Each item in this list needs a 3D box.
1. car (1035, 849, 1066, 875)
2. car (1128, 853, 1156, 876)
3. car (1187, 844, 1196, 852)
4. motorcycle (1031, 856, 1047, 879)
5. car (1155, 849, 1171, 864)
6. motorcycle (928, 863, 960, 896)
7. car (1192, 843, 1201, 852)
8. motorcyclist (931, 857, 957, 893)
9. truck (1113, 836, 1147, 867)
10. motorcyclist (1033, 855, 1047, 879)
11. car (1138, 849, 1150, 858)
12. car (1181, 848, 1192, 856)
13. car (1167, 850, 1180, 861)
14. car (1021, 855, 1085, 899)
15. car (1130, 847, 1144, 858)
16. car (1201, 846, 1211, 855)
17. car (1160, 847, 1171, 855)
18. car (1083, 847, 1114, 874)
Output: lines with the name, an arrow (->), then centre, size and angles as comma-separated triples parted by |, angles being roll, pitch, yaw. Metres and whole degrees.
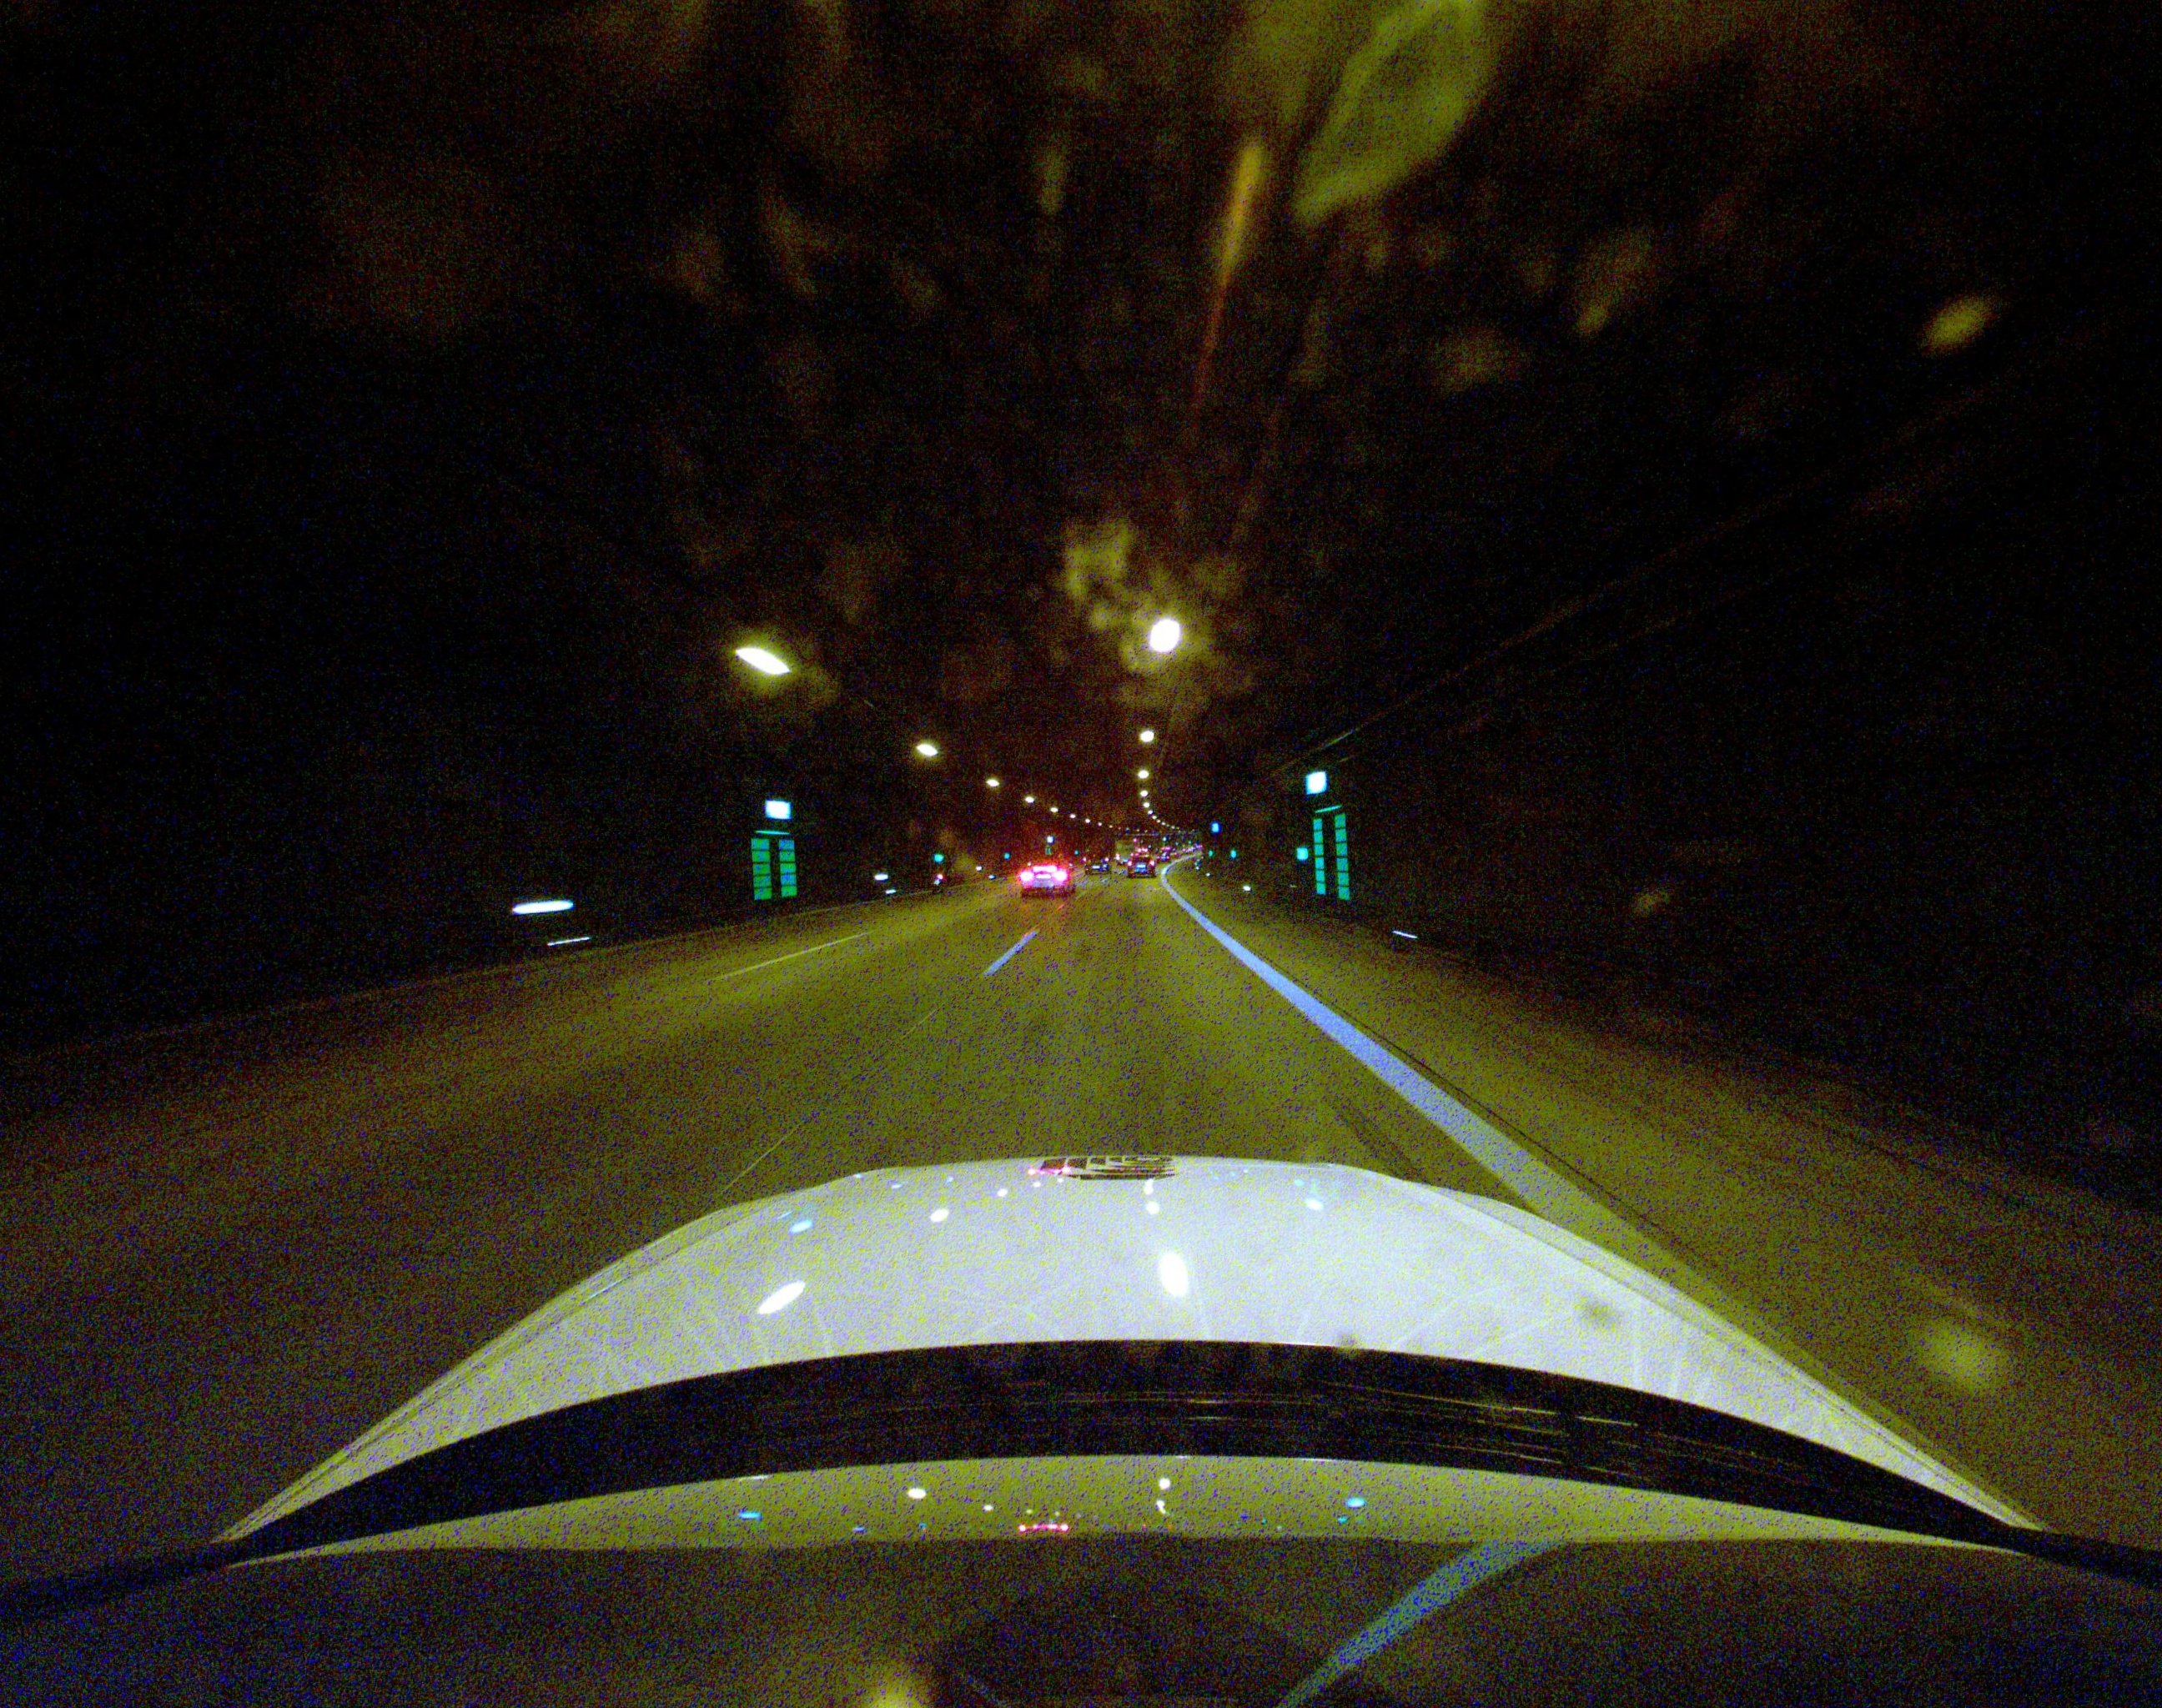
car -> -2.413, 0.609, 66.008 | 1.984, 2.014, 4.006 | -1, 0, 5
car -> 4.057, 0.708, 53.974 | 1.733, 1.464, 3.877 | -1, -2, 6
car -> 25.778, -1.388, 190.201 | 1.981, 1.632, 4.011 | -1, -1, 10
motorcycle -> -2.658, 0.835, 51.963 | 0.923, 1.434, 2.962 | 0, -1, -1
car -> 10.367, 0.320, 102.555 | 1.846, 1.854, 4.009 | -1, 0, 8
motorcycle -> -5.666, 1.023, 33.816 | 0.679, 1.297, 2.402 | -1, 0, 5
car -> 29.094, -1.621, 205.046 | 1.980, 2.014, 4.013 | -1, -1, 11
motorcyclist -> -5.665, 0.869, 33.799 | 0.773, 1.452, 1.070 | -1, -1, 5
truck -> 6.077, -0.269, 99.511 | 3.019, 3.673, 7.416 | -1, 0, 11
motorcyclist -> -2.615, 0.828, 51.804 | 0.804, 1.448, 1.864 | -1, -1, -1
car -> 11.668, -0.071, 150.741 | 1.919, 1.642, 4.010 | -1, 0, 9
car -> 21.723, -0.447, 167.223 | 1.918, 1.642, 4.011 | -1, -1, 10
car -> 14.811, 0.274, 130.498 | 1.939, 1.772, 4.009 | -1, -1, 8
car -> -0.996, 0.833, 31.891 | 1.693, 1.419, 5.071 | -2, 1, 7
car -> 8.858, -0.235, 128.765 | 1.982, 1.631, 4.009 | -1, 0, 8
car -> 30.708, -0.838, 200.343 | 1.979, 2.014, 4.015 | -1, -1, 14
car -> 19.181, -0.652, 184.439 | 1.917, 1.642, 4.015 | -1, -1, 14
car -> 1.383, 0.479, 63.373 | 1.899, 1.944, 3.881 | -2, 2, 8
